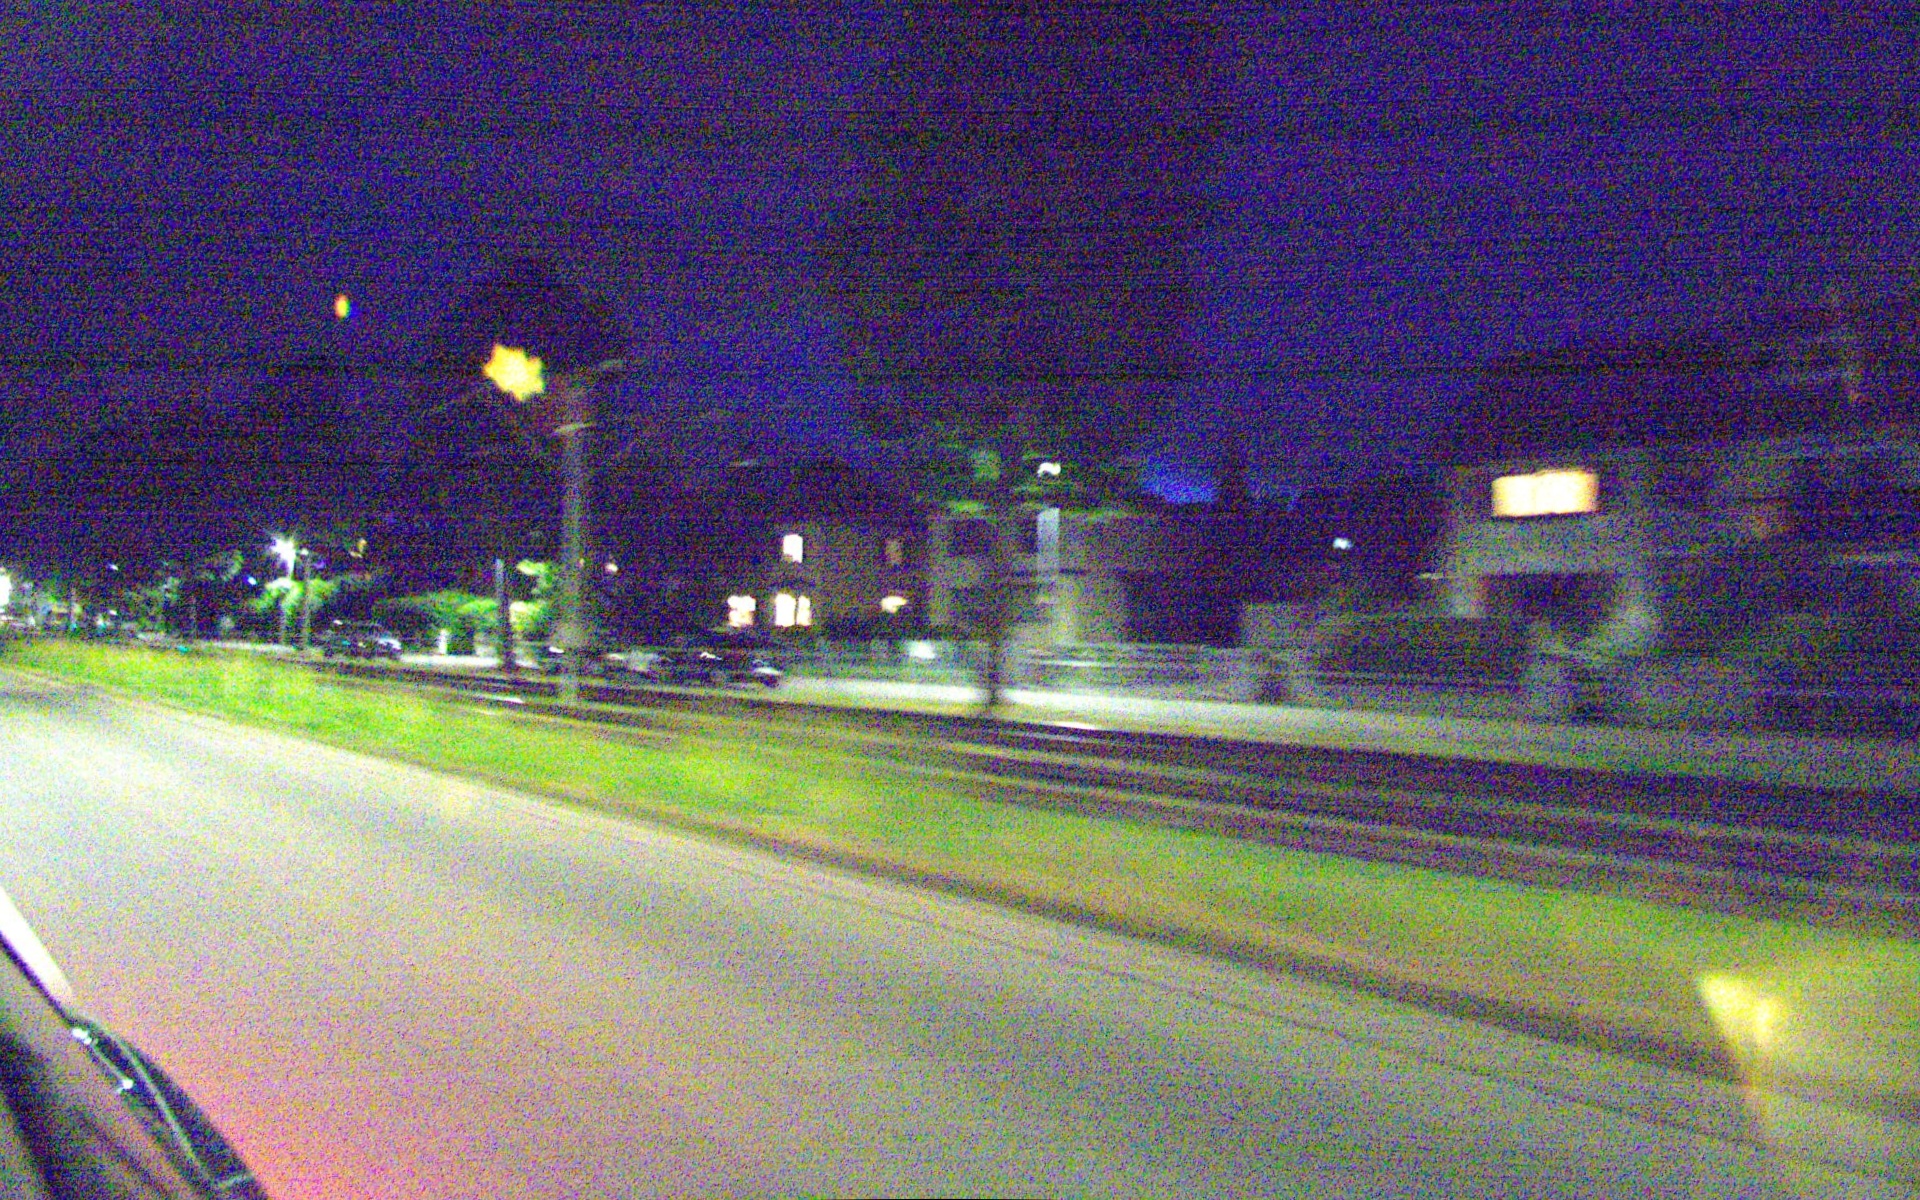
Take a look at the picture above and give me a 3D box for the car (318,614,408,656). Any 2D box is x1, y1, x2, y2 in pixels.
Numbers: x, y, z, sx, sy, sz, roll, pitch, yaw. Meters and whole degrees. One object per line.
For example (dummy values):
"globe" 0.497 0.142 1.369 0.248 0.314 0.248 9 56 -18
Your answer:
"car" -24.989 1.438 42.285 4.691 1.580 1.745 -1 -6 41

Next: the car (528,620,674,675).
"car" -10.413 1.344 29.136 4.985 1.375 1.879 0 -4 44

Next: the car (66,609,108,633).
"car" -71.256 1.711 82.573 4.721 1.784 2.096 0 -4 44

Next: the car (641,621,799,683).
"car" -6.065 1.277 25.311 4.144 1.375 1.710 0 -4 41

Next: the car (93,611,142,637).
"car" -61.606 1.739 73.985 4.721 1.784 2.096 0 -4 44

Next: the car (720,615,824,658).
"car" -7.651 1.456 41.453 1.887 1.554 3.948 0 0 39

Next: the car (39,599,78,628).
"car" -81.655 1.214 91.679 4.721 2.532 2.135 0 -4 44
